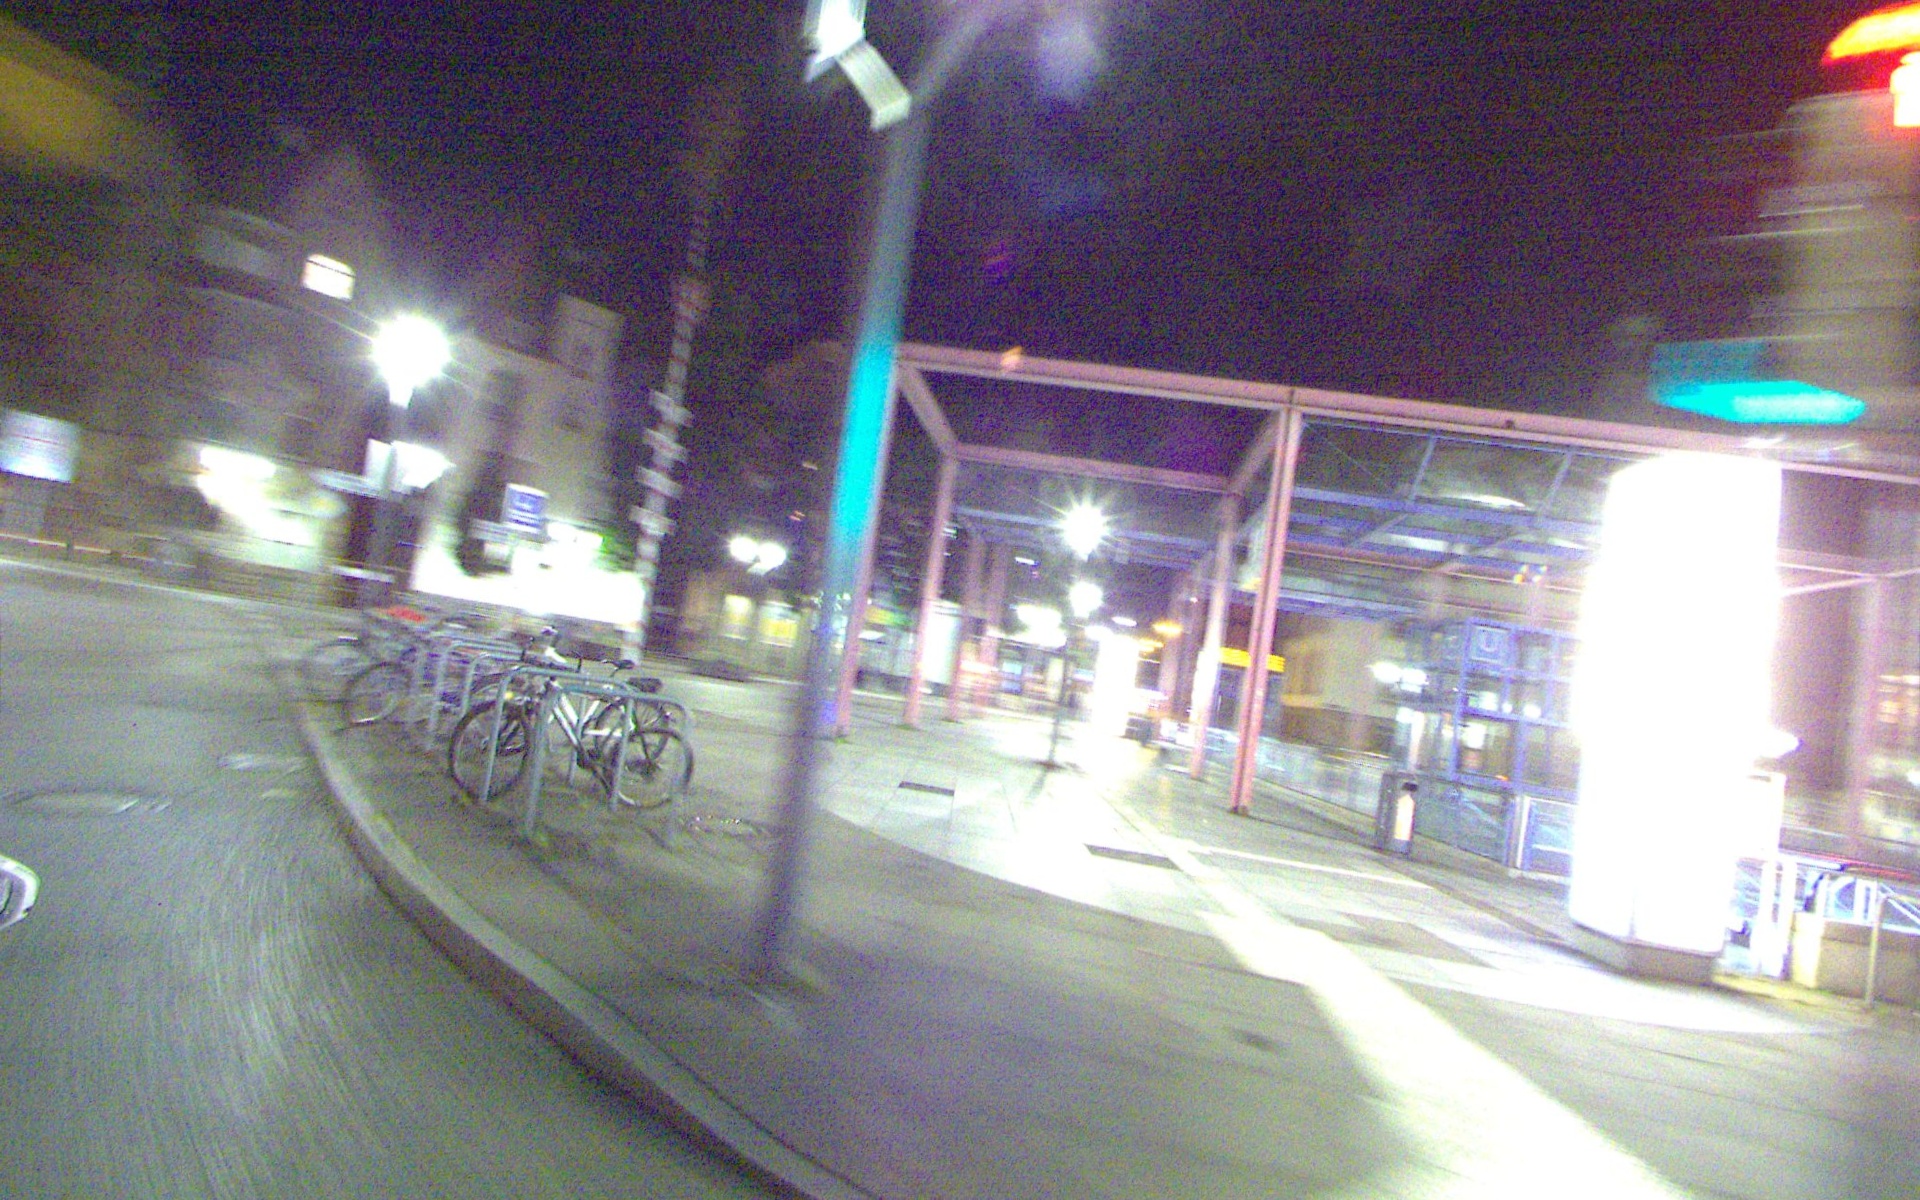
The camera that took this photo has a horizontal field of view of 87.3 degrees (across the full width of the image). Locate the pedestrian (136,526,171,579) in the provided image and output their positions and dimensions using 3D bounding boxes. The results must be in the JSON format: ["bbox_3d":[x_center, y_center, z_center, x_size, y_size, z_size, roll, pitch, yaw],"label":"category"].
[{"bbox_3d":[-27.991,-1.645,34.922,0.560,1.727,0.479,9,-2,9],"label":"pedestrian"}]

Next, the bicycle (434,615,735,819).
[{"bbox_3d":[-2.581,0.832,6.995,1.650,1.153,0.819,12,-4,-38],"label":"bicycle"}]

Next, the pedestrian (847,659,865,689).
[{"bbox_3d":[-4.888,3.461,47.373,0.463,1.313,0.510,11,-3,-35],"label":"pedestrian"}]

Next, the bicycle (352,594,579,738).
[{"bbox_3d":[-4.862,0.672,9.969,1.783,1.146,0.622,12,-4,-40],"label":"bicycle"}]

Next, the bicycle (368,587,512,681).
[{"bbox_3d":[-8.063,0.547,15.659,1.767,1.163,0.576,12,-4,-40],"label":"bicycle"}]

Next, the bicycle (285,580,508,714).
[{"bbox_3d":[-6.051,0.529,10.870,1.860,1.146,0.717,12,-4,-40],"label":"bicycle"}]

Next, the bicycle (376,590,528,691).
[{"bbox_3d":[-7.344,0.601,14.578,1.763,1.163,0.577,12,-4,-34],"label":"bicycle"}]

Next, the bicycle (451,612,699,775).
[{"bbox_3d":[-3.336,0.840,8.810,1.764,1.153,0.680,12,-4,-39],"label":"bicycle"}]

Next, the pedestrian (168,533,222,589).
[{"bbox_3d":[-25.533,-1.277,33.599,0.951,1.648,0.808,10,-3,-12],"label":"pedestrian"}]

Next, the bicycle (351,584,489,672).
[{"bbox_3d":[-9.011,0.474,16.826,1.777,1.163,0.752,12,-4,-40],"label":"bicycle"}]

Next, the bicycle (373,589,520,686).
[{"bbox_3d":[-7.691,0.574,15.100,1.763,1.163,0.577,12,-4,-33],"label":"bicycle"}]

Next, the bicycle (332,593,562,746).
[{"bbox_3d":[-4.676,0.656,9.234,1.649,1.146,0.636,12,-4,-39],"label":"bicycle"}]

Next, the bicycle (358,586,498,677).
[{"bbox_3d":[-8.546,0.516,16.202,1.767,1.163,0.607,12,-4,-40],"label":"bicycle"}]

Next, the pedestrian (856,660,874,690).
[{"bbox_3d":[-4.505,3.547,47.642,0.463,1.313,0.510,11,-3,-35],"label":"pedestrian"}]

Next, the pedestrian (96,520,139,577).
[{"bbox_3d":[-27.814,-1.706,33.221,0.691,1.727,0.509,9,-2,9],"label":"pedestrian"}]
